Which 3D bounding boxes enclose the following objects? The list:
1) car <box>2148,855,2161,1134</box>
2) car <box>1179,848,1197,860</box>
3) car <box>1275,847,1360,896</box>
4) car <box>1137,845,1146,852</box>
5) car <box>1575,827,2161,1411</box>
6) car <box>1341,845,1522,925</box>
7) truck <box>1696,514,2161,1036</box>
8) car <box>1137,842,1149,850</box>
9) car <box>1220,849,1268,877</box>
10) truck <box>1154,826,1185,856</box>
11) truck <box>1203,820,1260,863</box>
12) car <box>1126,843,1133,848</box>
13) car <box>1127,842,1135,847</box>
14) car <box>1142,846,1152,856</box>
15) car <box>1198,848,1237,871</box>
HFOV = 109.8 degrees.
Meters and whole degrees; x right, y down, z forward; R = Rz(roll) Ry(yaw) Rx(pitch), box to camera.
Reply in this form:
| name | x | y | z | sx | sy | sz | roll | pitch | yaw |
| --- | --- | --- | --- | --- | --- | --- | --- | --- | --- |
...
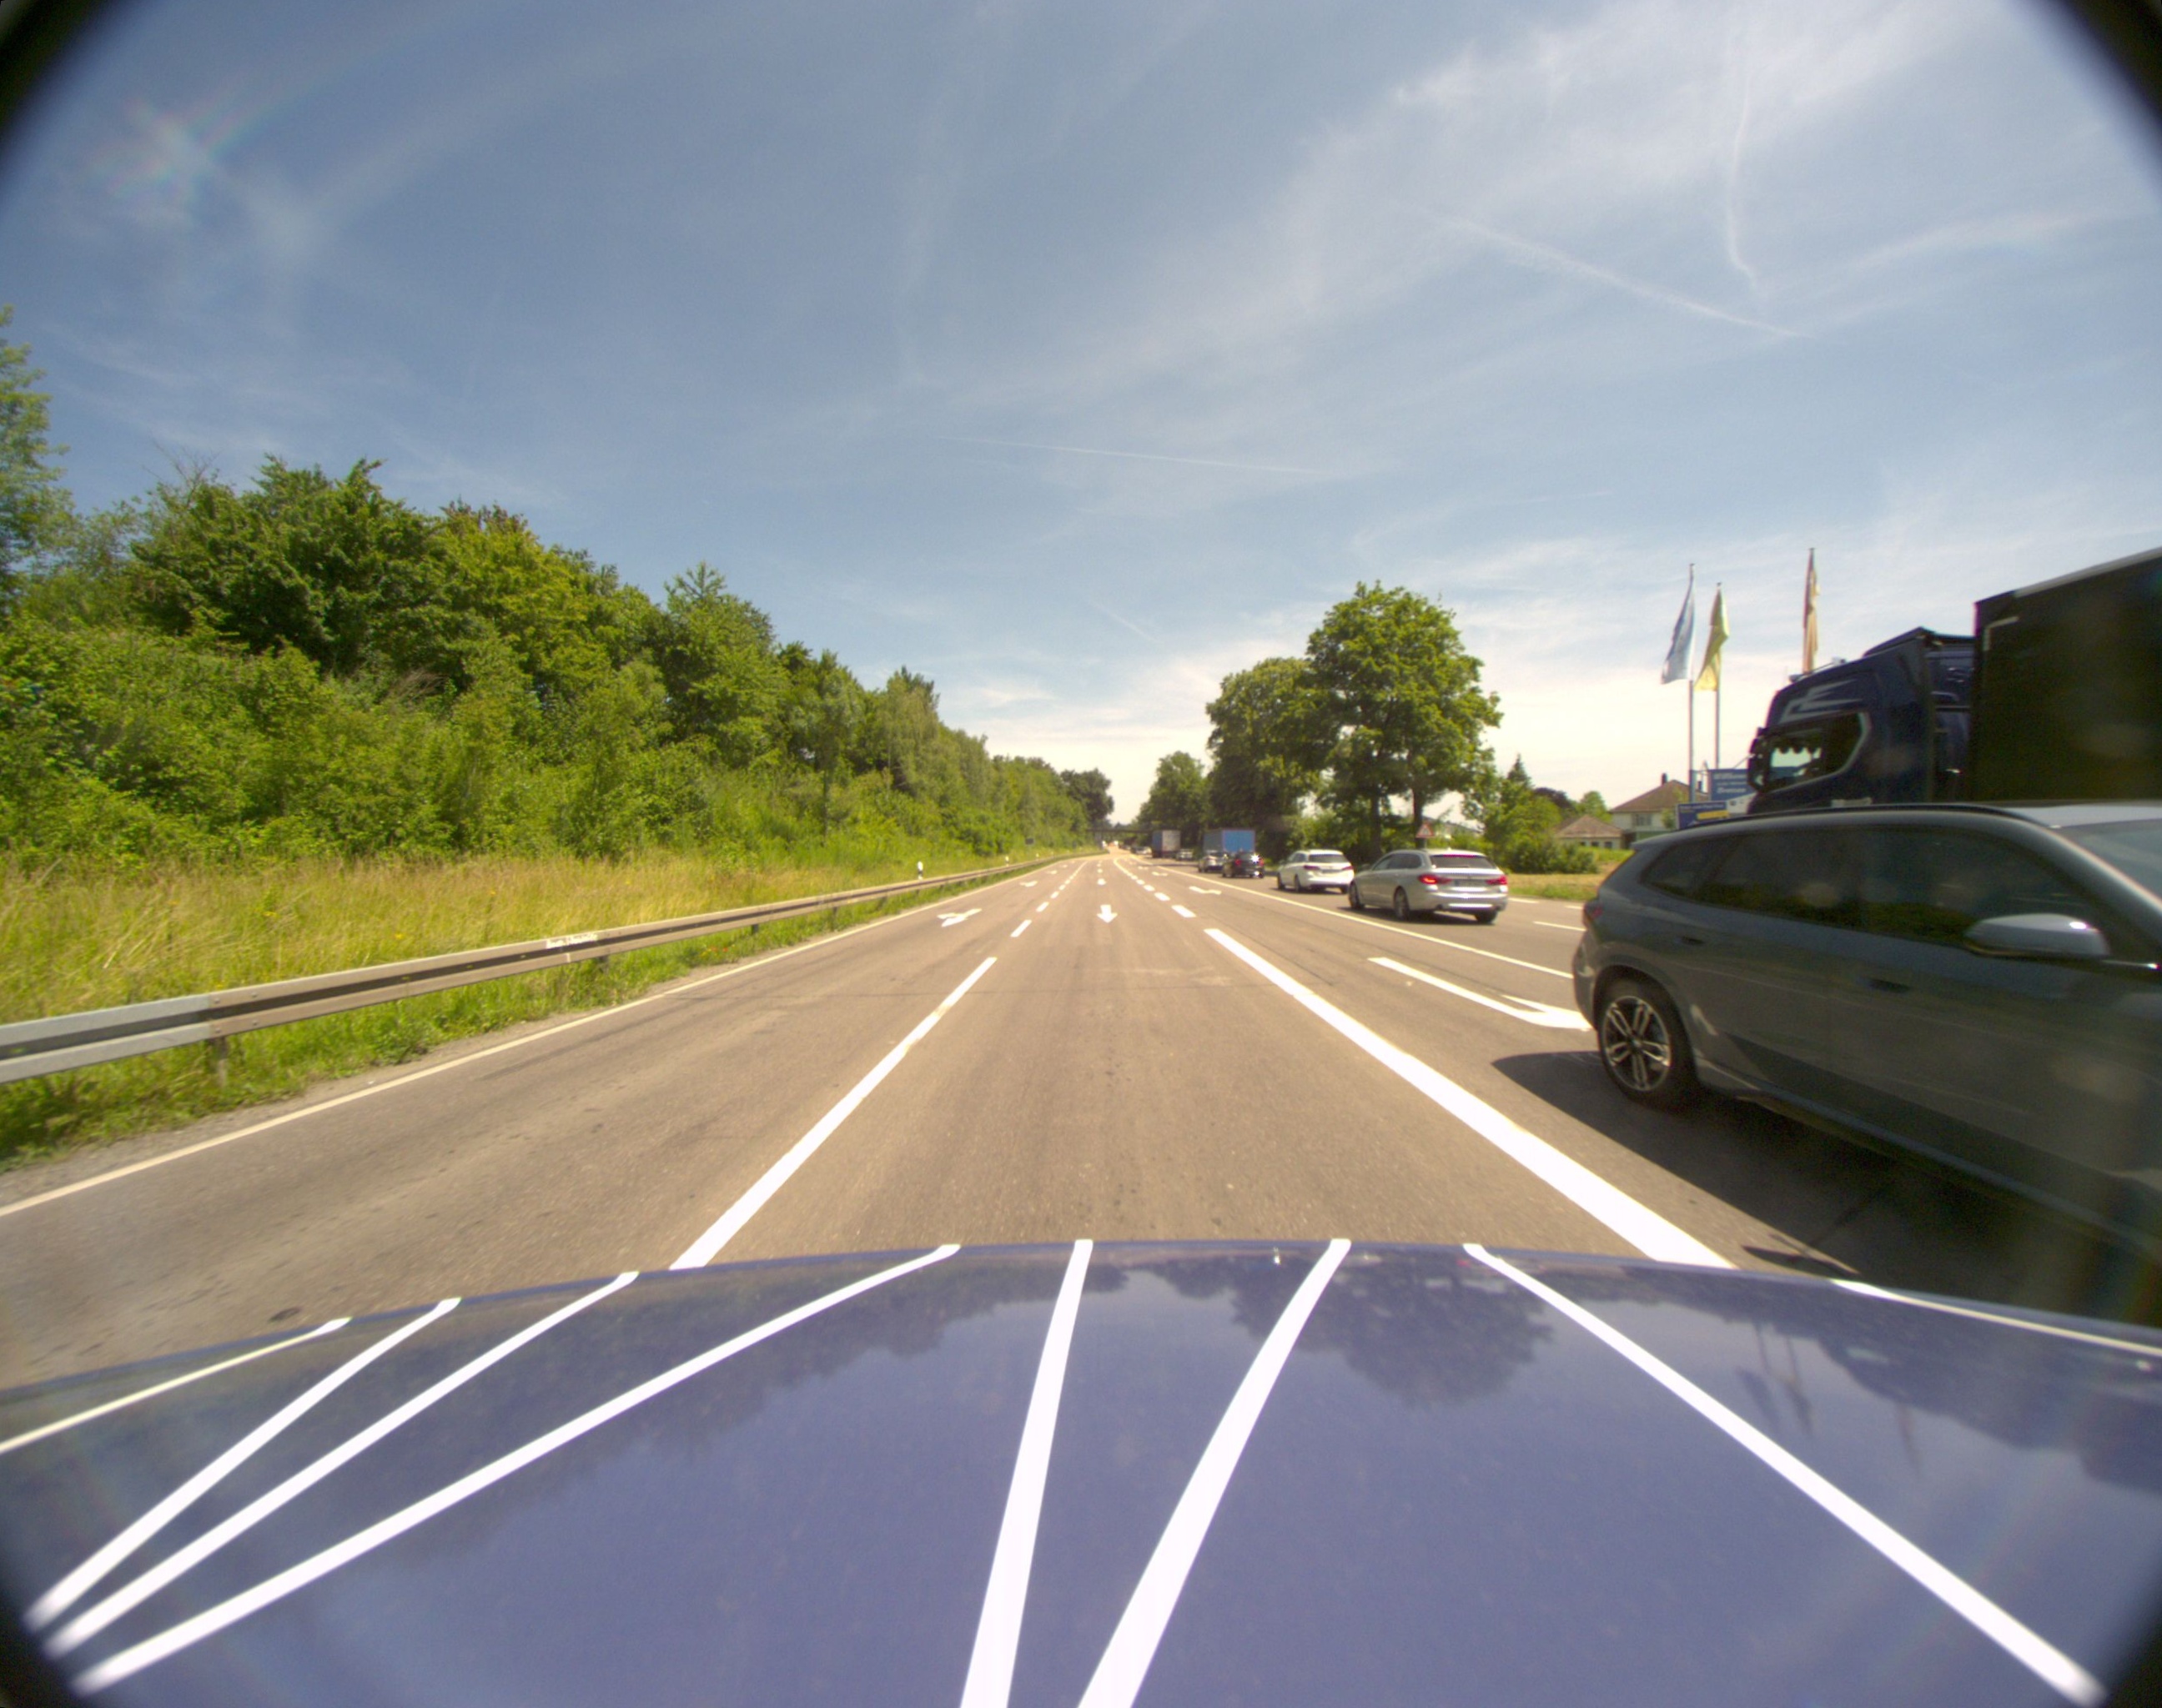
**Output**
| name | x | y | z | sx | sy | sz | roll | pitch | yaw |
| --- | --- | --- | --- | --- | --- | --- | --- | --- | --- |
| car | 6.572 | 0.768 | 2.148 | 1.668 | 1.500 | 3.905 | 0 | 0 | 2 |
| car | 13.009 | -0.062 | 92.837 | 1.765 | 1.419 | 4.180 | 0 | 0 | 2 |
| car | 8.221 | 0.552 | 26.808 | 1.744 | 1.495 | 4.405 | 1 | 2 | 2 |
| car | 12.984 | -1.102 | 163.120 | 1.704 | 1.407 | 4.562 | -1 | 1 | 0 |
| car | 3.904 | 0.715 | 2.542 | 1.798 | 1.618 | 4.370 | -1 | 0 | 3 |
| car | 7.384 | 0.562 | 16.651 | 1.814 | 1.500 | 4.946 | 0 | 0 | 2 |
| truck | 10.340 | -0.628 | 2.501 | 3.153 | 4.324 | 17.544 | 0 | 0 | 3 |
| car | 11.553 | -1.448 | 141.286 | 1.923 | 1.472 | 4.687 | 0 | 0 | 0 |
| car | 8.542 | 0.430 | 40.133 | 1.666 | 1.395 | 4.016 | 1 | 0 | 0 |
| truck | 13.281 | -1.987 | 115.389 | 2.975 | 4.153 | 16.572 | 0 | 1 | 1 |
| truck | 12.537 | -1.064 | 64.439 | 2.853 | 3.332 | 11.481 | -1 | 1 | 2 |
| car | 14.387 | -2.613 | 226.390 | 1.771 | 1.378 | 3.999 | -2 | 2 | 1 |
| car | 13.141 | -2.481 | 200.151 | 1.645 | 1.430 | 4.016 | -2 | 1 | 0 |
| car | 13.423 | -0.595 | 154.919 | 1.998 | 1.893 | 4.000 | 0 | 1 | 2 |
| car | 8.869 | 0.332 | 49.759 | 1.793 | 1.418 | 4.262 | 1 | 1 | 0 |
